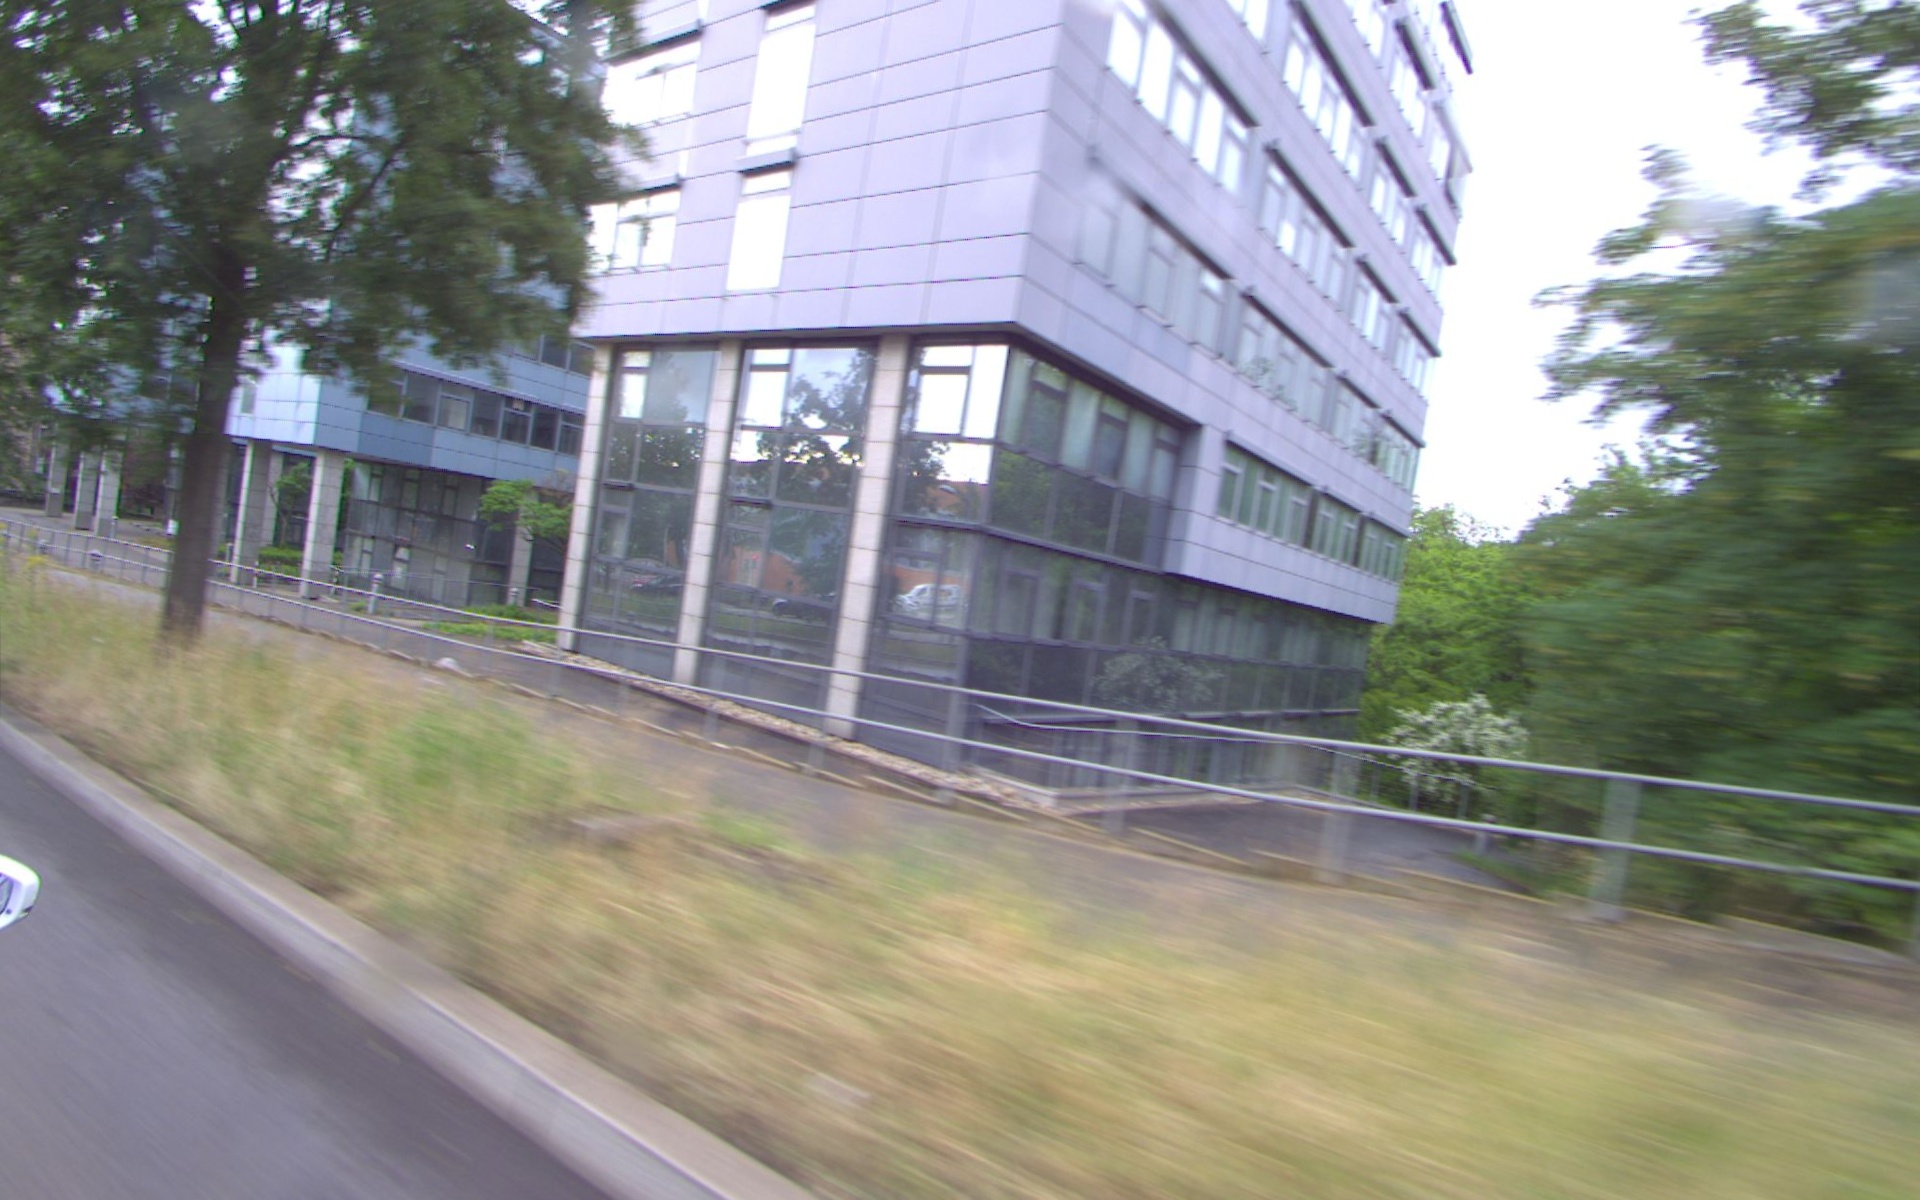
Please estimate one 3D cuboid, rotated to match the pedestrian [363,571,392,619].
[{"bbox_3d":[-18.381,-0.166,31.761,0.450,1.425,0.503,7,-1,36],"label":"pedestrian"}]
